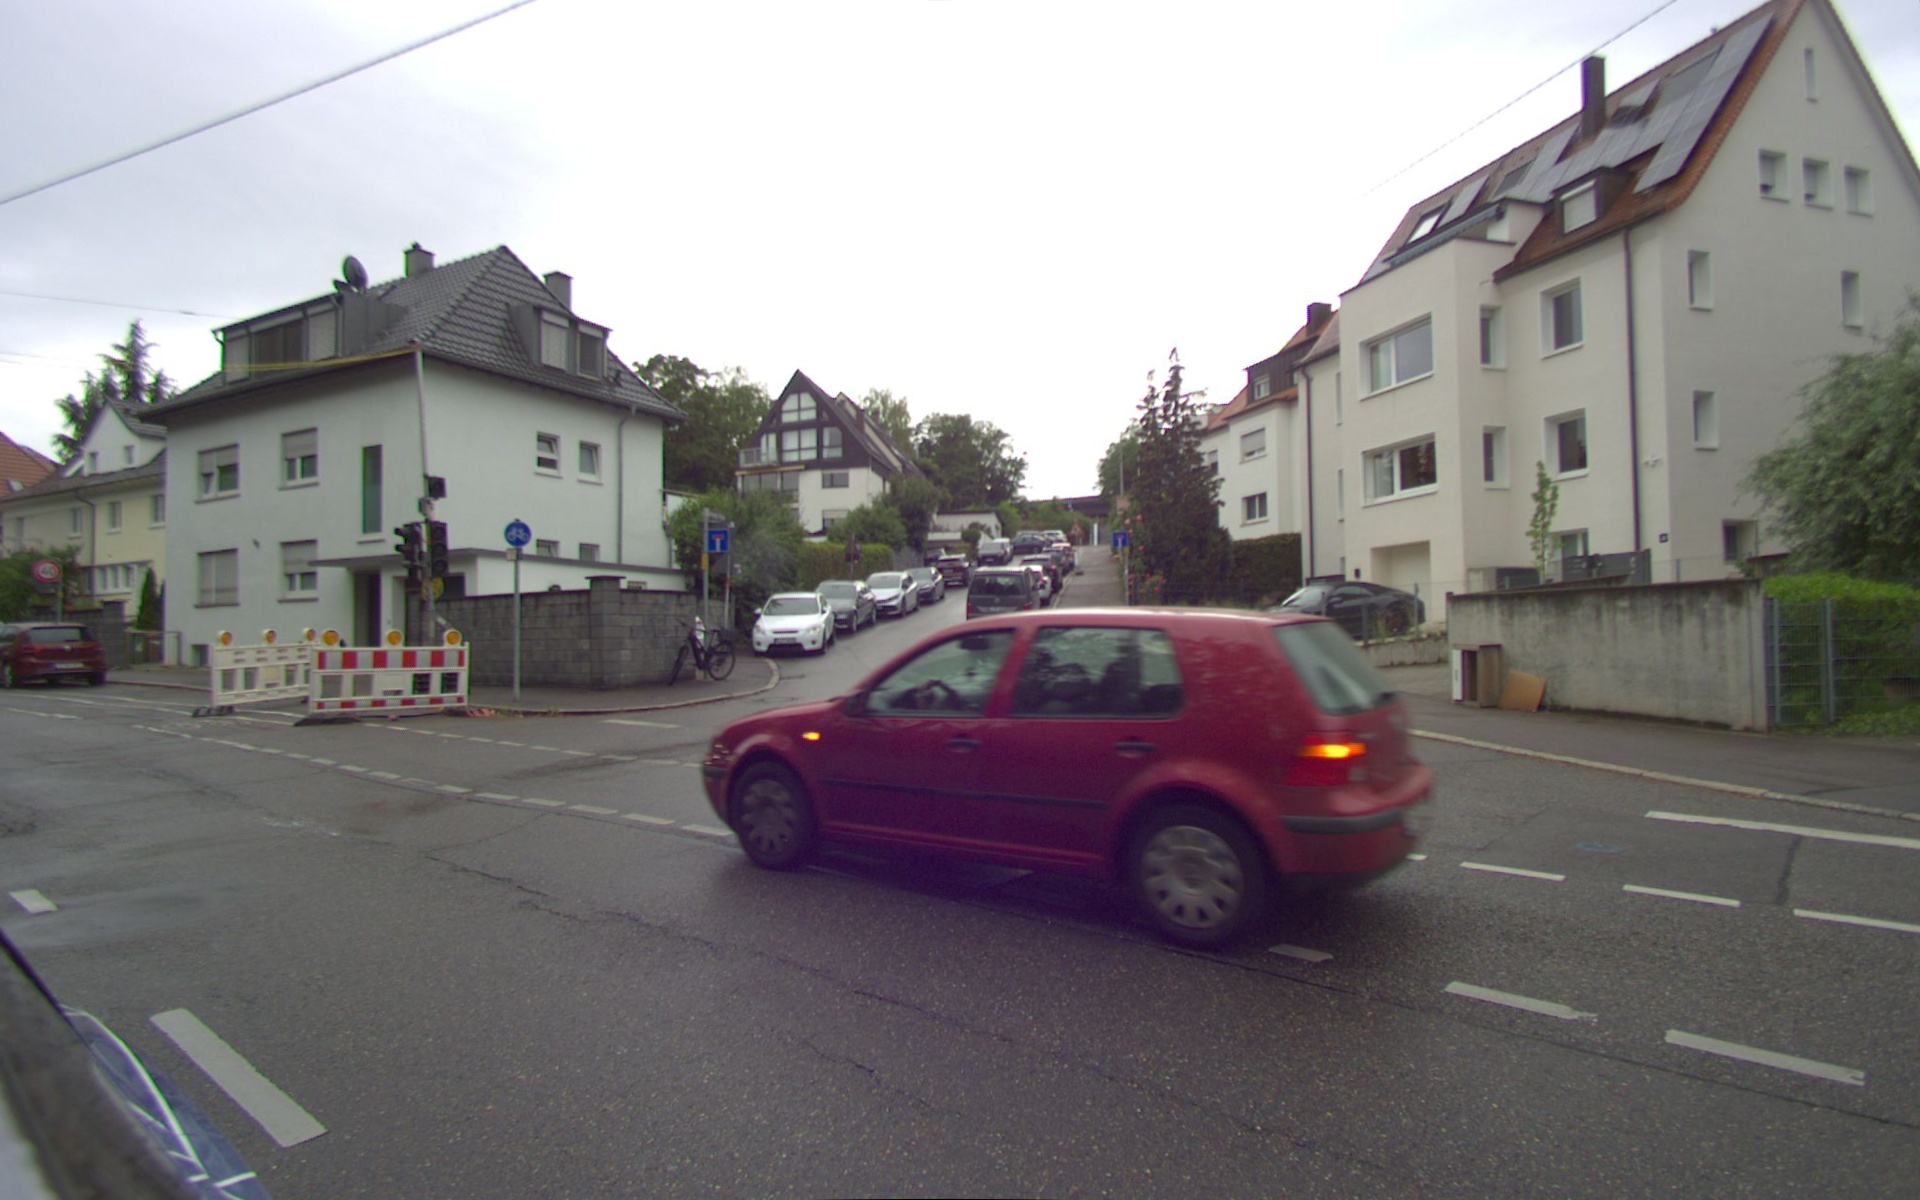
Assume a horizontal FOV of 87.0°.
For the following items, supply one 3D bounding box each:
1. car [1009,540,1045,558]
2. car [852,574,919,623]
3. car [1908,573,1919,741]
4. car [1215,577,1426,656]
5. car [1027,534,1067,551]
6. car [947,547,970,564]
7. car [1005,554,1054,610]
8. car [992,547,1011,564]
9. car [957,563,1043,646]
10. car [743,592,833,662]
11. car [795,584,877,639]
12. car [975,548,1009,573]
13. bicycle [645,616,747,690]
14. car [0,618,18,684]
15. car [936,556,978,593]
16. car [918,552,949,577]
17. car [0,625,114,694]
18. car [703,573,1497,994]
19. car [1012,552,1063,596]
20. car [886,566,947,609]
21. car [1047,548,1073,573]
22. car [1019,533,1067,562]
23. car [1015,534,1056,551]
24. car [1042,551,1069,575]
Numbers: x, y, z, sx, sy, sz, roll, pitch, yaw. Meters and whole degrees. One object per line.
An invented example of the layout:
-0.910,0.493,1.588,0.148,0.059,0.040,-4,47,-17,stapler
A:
5.562,-4.195,83.648,2.914,1.328,1.282,-1,0,4,car
-2.653,-0.085,37.082,1.738,1.481,3.940,-1,4,6,car
10.608,0.423,8.542,3.934,1.497,1.780,-2,-1,-12,car
7.711,0.334,21.766,3.942,1.290,1.613,-5,1,-13,car
8.950,-5.895,103.908,3.782,1.529,1.664,-1,-1,15,car
-0.073,-3.257,74.016,1.559,1.220,3.650,-1,3,2,car
2.825,-0.753,40.318,1.686,1.843,4.194,-1,6,7,car
3.067,-3.324,74.705,1.292,1.206,2.980,-1,3,5,car
1.247,0.050,29.320,1.978,2.028,4.482,-1,4,9,car
-4.350,0.624,26.151,1.827,1.473,4.124,-1,3,-3,car
-3.822,0.319,31.813,1.702,1.397,3.900,-1,4,6,car
2.204,-2.668,68.880,1.770,1.531,4.016,-1,0,9,car
-4.782,0.931,18.452,0.508,1.249,1.984,1,0,32,bicycle
-26.149,1.314,25.771,4.131,1.653,1.782,-1,-1,25,car
-0.108,-1.362,52.460,1.623,1.637,3.992,-1,5,8,car
-1.819,-2.417,69.788,1.793,1.566,4.009,-1,0,3,car
-21.465,1.331,23.379,3.833,1.443,1.768,-1,-1,30,car
0.556,0.700,5.446,3.880,1.474,1.748,-2,-2,37,car
3.527,-1.192,45.371,1.823,1.699,4.039,-1,5,11,car
-1.801,-0.553,42.954,1.903,1.448,4.100,-1,5,7,car
6.245,-2.445,62.842,1.488,1.373,3.465,-1,0,8,car
7.212,-4.559,87.637,3.954,2.028,1.995,-5,-1,8,car
7.402,-5.585,98.783,3.922,1.528,1.748,-1,0,6,car
5.510,-2.141,58.106,1.274,1.325,2.984,-1,3,10,car
